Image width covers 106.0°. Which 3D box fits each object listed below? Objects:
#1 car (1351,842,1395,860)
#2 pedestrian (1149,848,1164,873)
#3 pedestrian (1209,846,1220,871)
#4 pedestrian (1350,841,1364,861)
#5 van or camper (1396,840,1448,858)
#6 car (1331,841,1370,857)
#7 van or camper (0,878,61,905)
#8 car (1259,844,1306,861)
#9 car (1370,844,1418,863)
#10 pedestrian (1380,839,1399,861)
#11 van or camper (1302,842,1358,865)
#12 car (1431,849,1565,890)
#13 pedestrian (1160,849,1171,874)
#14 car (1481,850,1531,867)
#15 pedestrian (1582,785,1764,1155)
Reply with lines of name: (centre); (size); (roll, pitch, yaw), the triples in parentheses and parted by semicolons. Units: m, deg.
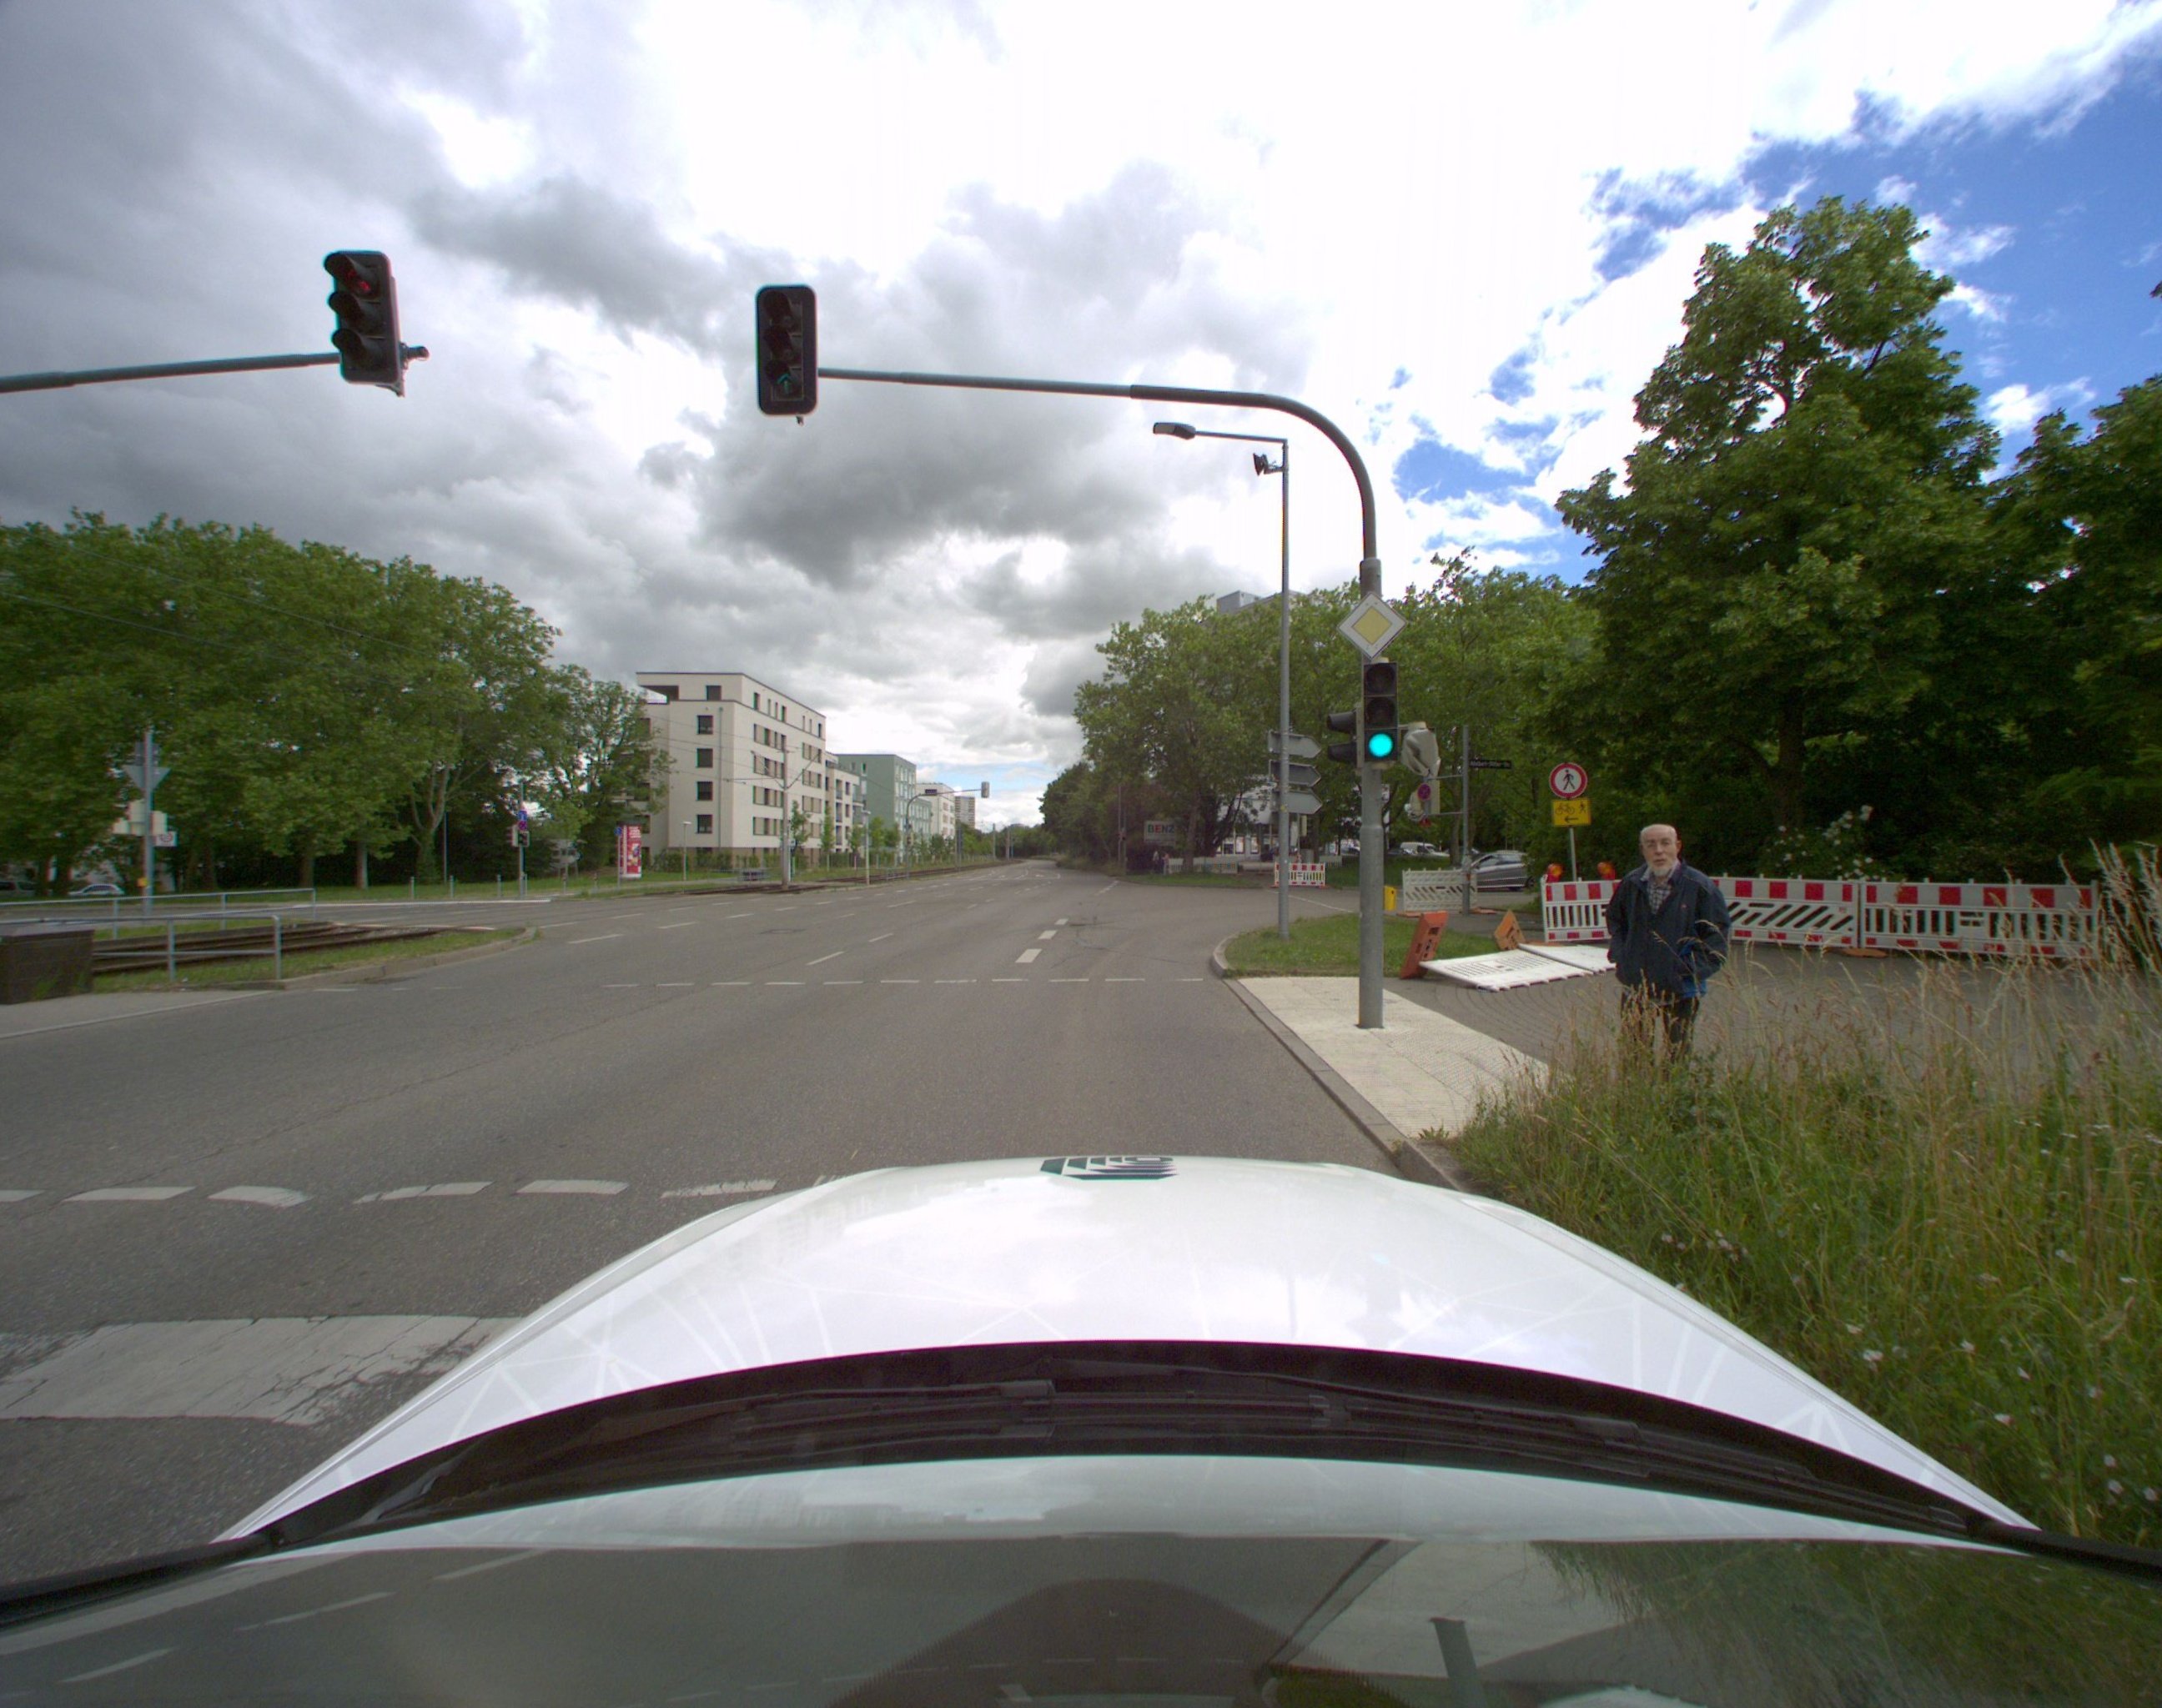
car: (28.088, -0.320, 78.397); (1.677, 1.634, 3.787); (0, 1, -28)
pedestrian: (4.723, 0.410, 50.721); (0.846, 1.586, 0.796); (0, -1, -1)
pedestrian: (8.332, 0.282, 50.938); (0.650, 1.539, 0.774); (0, -1, 7)
pedestrian: (22.013, -0.265, 64.965); (0.792, 1.586, 0.797); (0, -1, -6)
van or camper: (27.327, -0.367, 65.341); (1.523, 1.356, 3.738); (0, -1, -31)
car: (25.376, -0.462, 76.808); (1.489, 1.404, 3.377); (0, -1, -29)
van or camper: (-67.947, 2.381, 50.940); (1.851, 1.533, 5.010); (-1, 0, 2)
car: (17.571, -0.110, 71.291); (1.736, 1.500, 4.234); (0, -1, -24)
car: (24.355, 0.001, 63.526); (1.488, 1.404, 3.378); (0, -1, -27)
pedestrian: (26.496, -0.371, 70.021); (1.075, 1.871, 1.053); (0, -1, -18)
van or camper: (18.509, -0.037, 60.740); (1.849, 1.684, 3.967); (-1, 0, -25)
car: (16.448, 0.617, 32.260); (4.379, 1.586, 1.774); (0, -1, 3)
pedestrian: (5.123, 0.442, 49.326); (0.694, 1.489, 0.689); (0, -1, 6)
car: (38.164, 0.423, 73.265); (1.736, 1.500, 3.714); (0, -1, -24)
pedestrian: (3.168, 0.542, 4.424); (0.719, 1.740, 0.962); (0, 0, 34)
